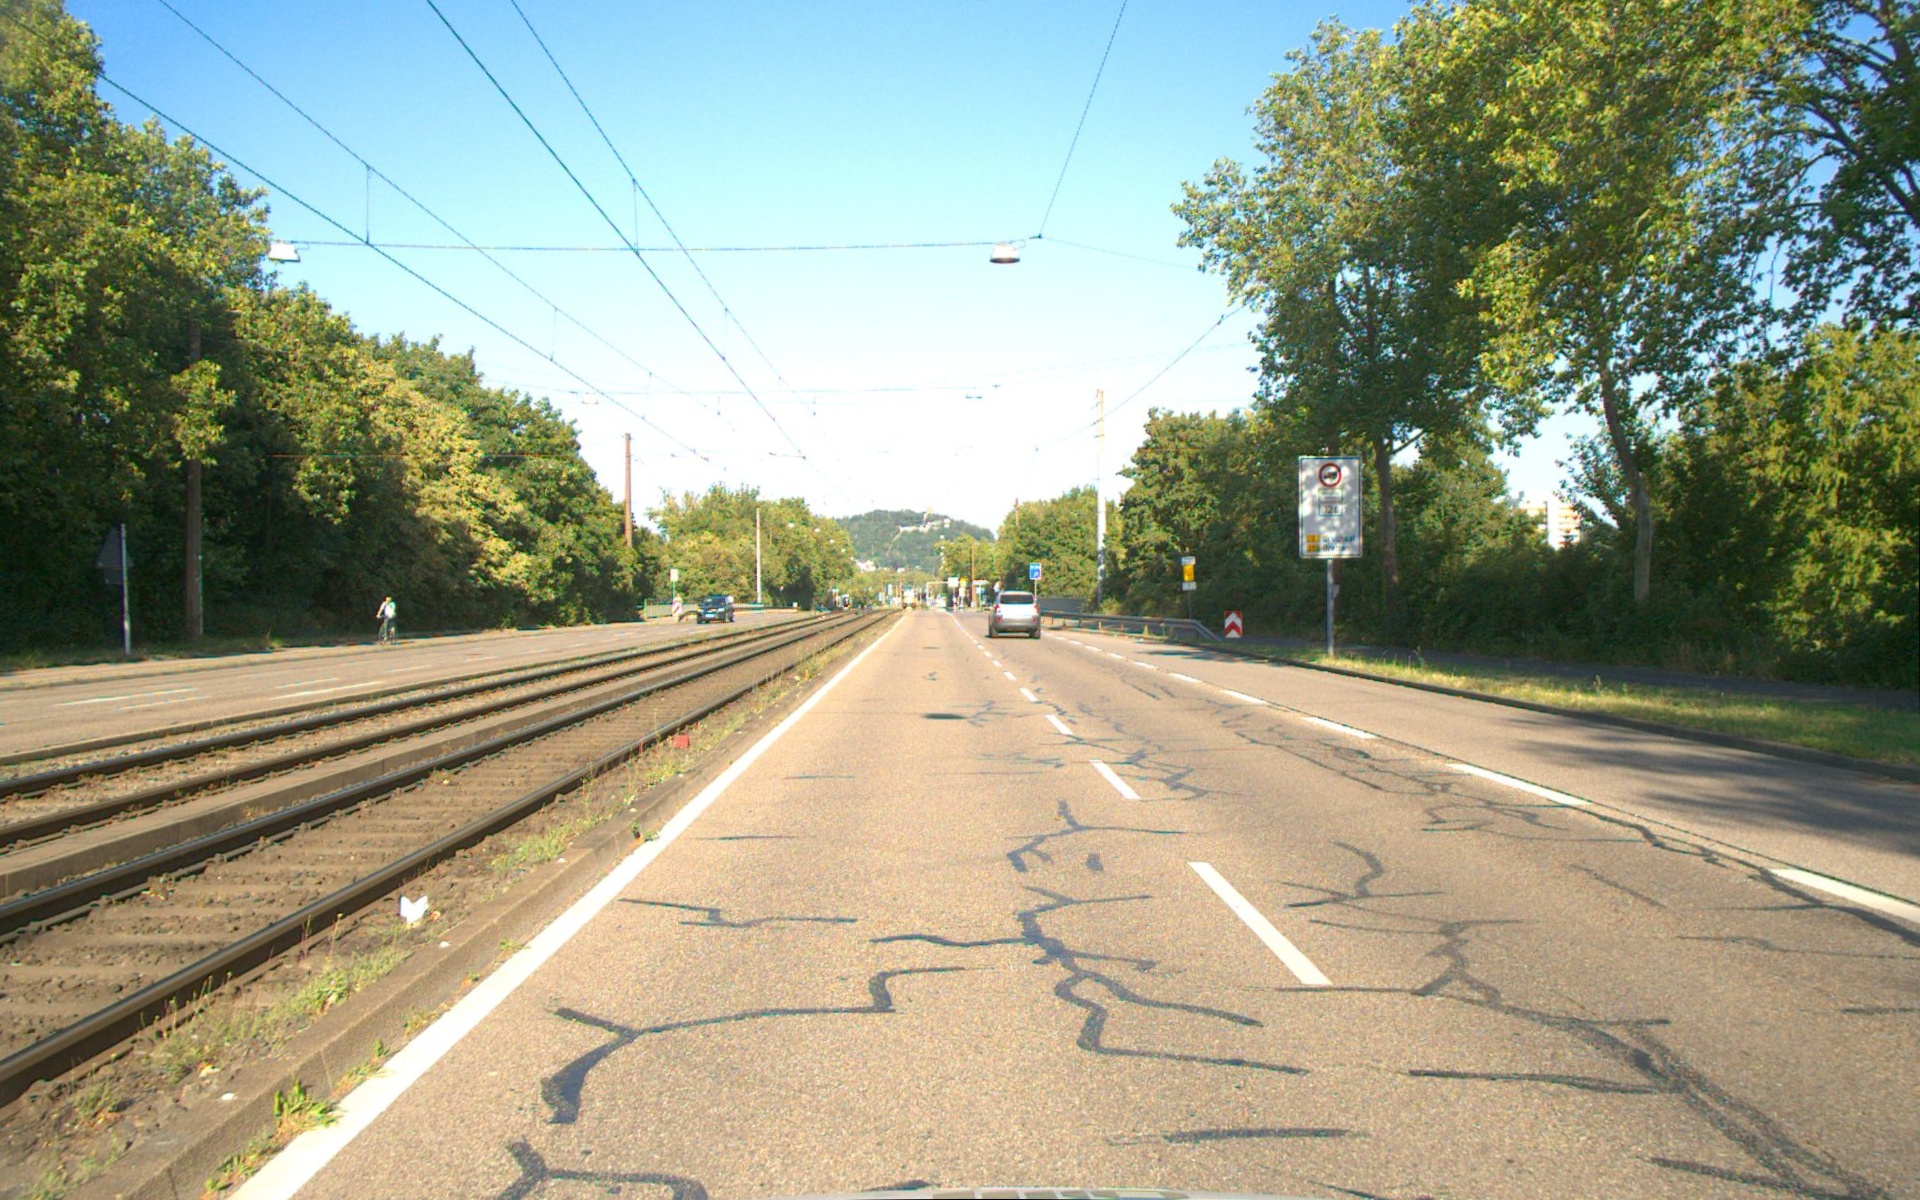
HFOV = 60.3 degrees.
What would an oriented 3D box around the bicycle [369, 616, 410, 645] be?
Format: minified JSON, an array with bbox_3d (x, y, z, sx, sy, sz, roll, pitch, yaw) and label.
[{"bbox_3d":[-20.398,1.088,59.182,0.539,1.003,2.240,1,0,4],"label":"bicycle"}]

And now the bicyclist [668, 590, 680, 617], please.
[{"bbox_3d":[-18.040,0.227,104.253,0.497,1.716,0.919,1,0,2],"label":"bicyclist"}]

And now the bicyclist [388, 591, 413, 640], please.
[{"bbox_3d":[-20.089,0.554,59.399,0.539,1.720,0.820,1,0,3],"label":"bicyclist"}]

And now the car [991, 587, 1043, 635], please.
[{"bbox_3d":[2.095,0.399,61.398,1.849,1.723,4.257,0,0,1],"label":"car"}]

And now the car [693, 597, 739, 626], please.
[{"bbox_3d":[-15.379,0.721,104.415,1.952,1.715,4.797,-2,0,2],"label":"car"}]

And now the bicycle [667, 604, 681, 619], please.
[{"bbox_3d":[-18.048,0.745,104.411,0.497,0.908,2.028,1,0,2],"label":"bicycle"}]
